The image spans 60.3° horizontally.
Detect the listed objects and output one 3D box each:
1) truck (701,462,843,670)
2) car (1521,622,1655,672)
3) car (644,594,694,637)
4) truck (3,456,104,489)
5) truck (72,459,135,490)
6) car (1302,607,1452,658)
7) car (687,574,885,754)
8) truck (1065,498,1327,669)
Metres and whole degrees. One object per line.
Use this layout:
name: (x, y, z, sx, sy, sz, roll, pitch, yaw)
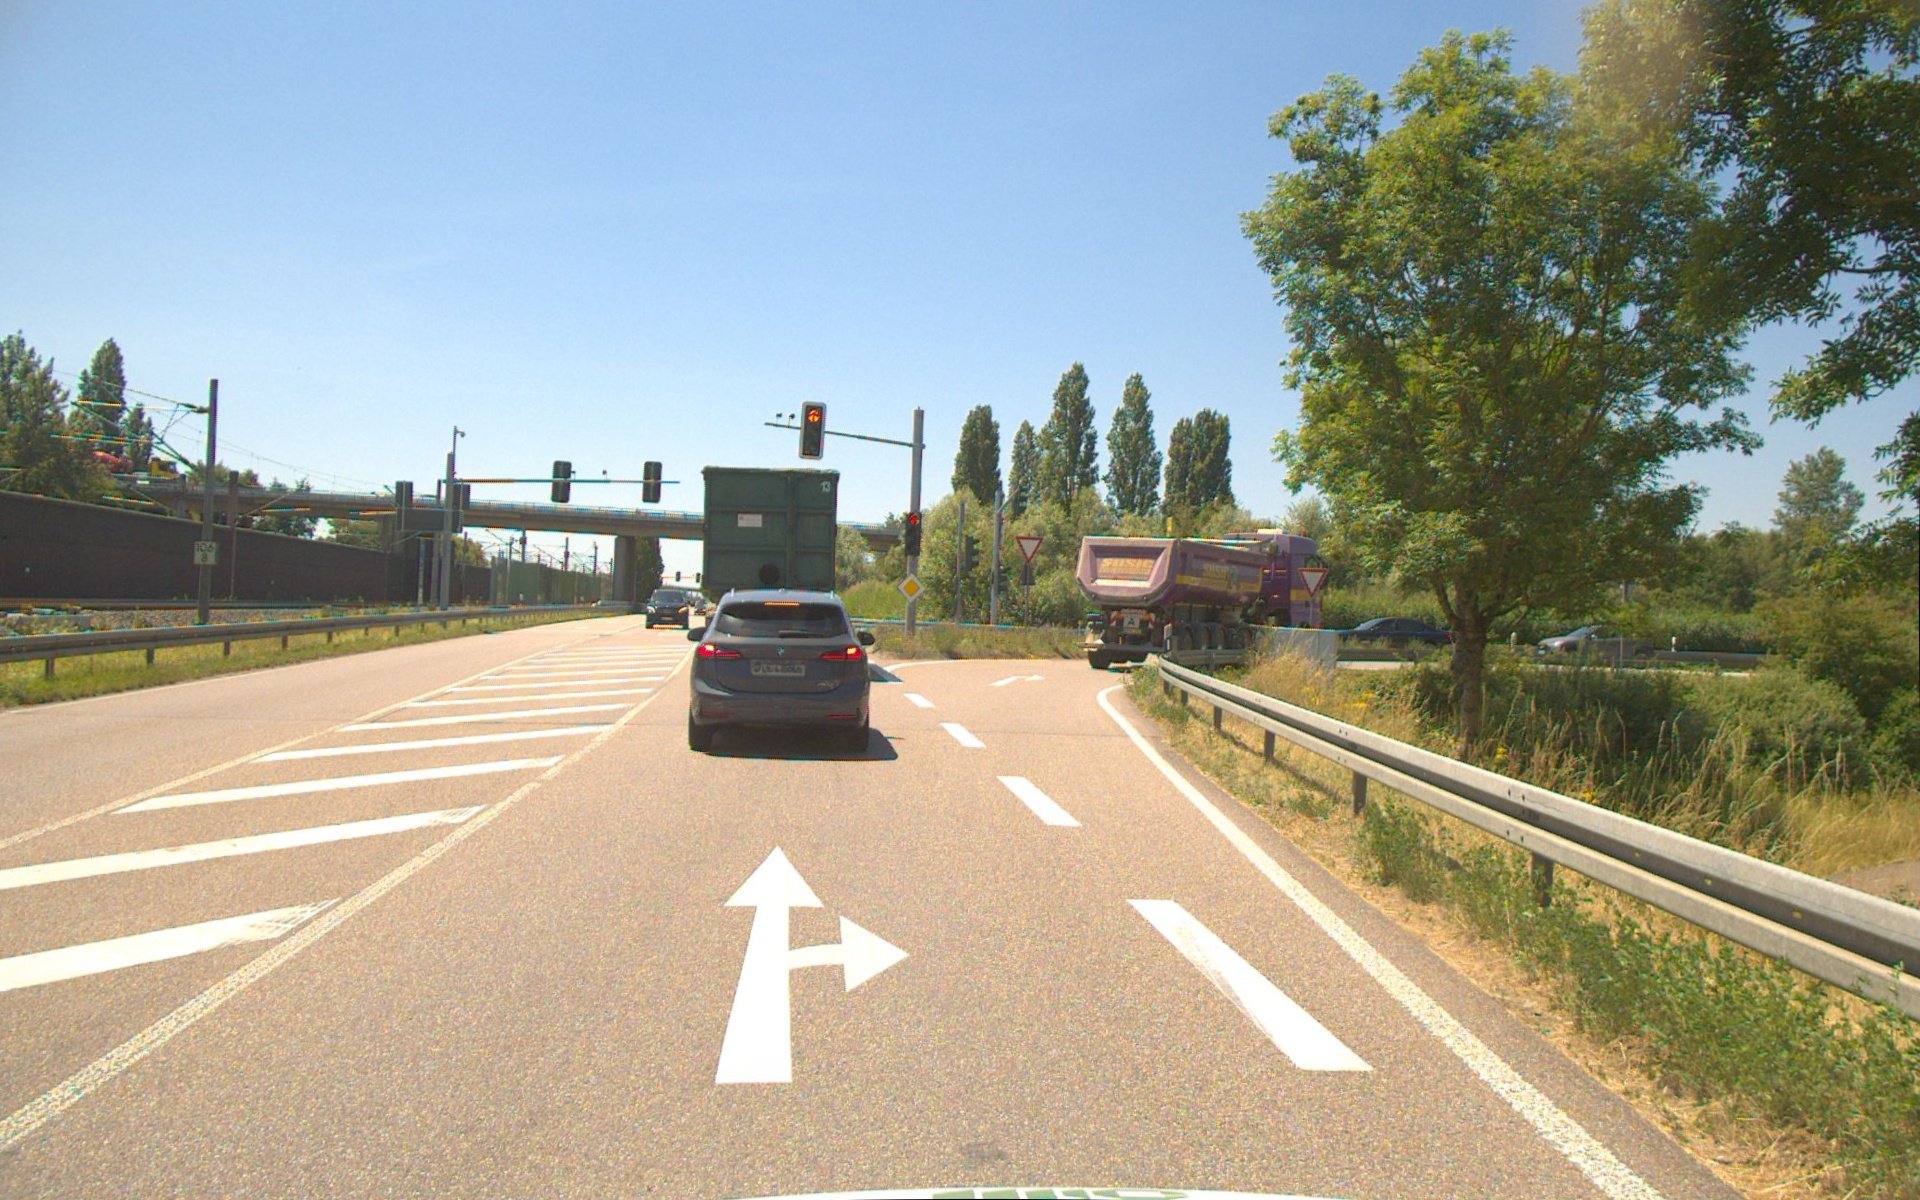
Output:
truck: (-4.049, -0.665, 35.516, 2.540, 3.803, 9.561, 1, 0, -7)
car: (22.934, 1.709, 60.455, 4.143, 1.660, 1.931, 1, 0, -7)
car: (-13.296, 0.670, 75.808, 1.890, 1.798, 4.591, 2, 0, -7)
truck: (-87.686, -12.314, 160.132, 8.336, 2.721, 1.996, 1, 0, -8)
truck: (-83.262, -12.211, 160.772, 4.995, 2.721, 1.996, 1, 0, -8)
car: (14.913, 1.163, 59.287, 4.830, 1.660, 1.931, 1, 0, -6)
car: (-1.856, 0.610, 17.633, 1.809, 1.651, 4.220, 1, 0, -6)
truck: (6.560, -0.325, 43.515, 2.780, 3.888, 11.865, 1, 0, 29)
